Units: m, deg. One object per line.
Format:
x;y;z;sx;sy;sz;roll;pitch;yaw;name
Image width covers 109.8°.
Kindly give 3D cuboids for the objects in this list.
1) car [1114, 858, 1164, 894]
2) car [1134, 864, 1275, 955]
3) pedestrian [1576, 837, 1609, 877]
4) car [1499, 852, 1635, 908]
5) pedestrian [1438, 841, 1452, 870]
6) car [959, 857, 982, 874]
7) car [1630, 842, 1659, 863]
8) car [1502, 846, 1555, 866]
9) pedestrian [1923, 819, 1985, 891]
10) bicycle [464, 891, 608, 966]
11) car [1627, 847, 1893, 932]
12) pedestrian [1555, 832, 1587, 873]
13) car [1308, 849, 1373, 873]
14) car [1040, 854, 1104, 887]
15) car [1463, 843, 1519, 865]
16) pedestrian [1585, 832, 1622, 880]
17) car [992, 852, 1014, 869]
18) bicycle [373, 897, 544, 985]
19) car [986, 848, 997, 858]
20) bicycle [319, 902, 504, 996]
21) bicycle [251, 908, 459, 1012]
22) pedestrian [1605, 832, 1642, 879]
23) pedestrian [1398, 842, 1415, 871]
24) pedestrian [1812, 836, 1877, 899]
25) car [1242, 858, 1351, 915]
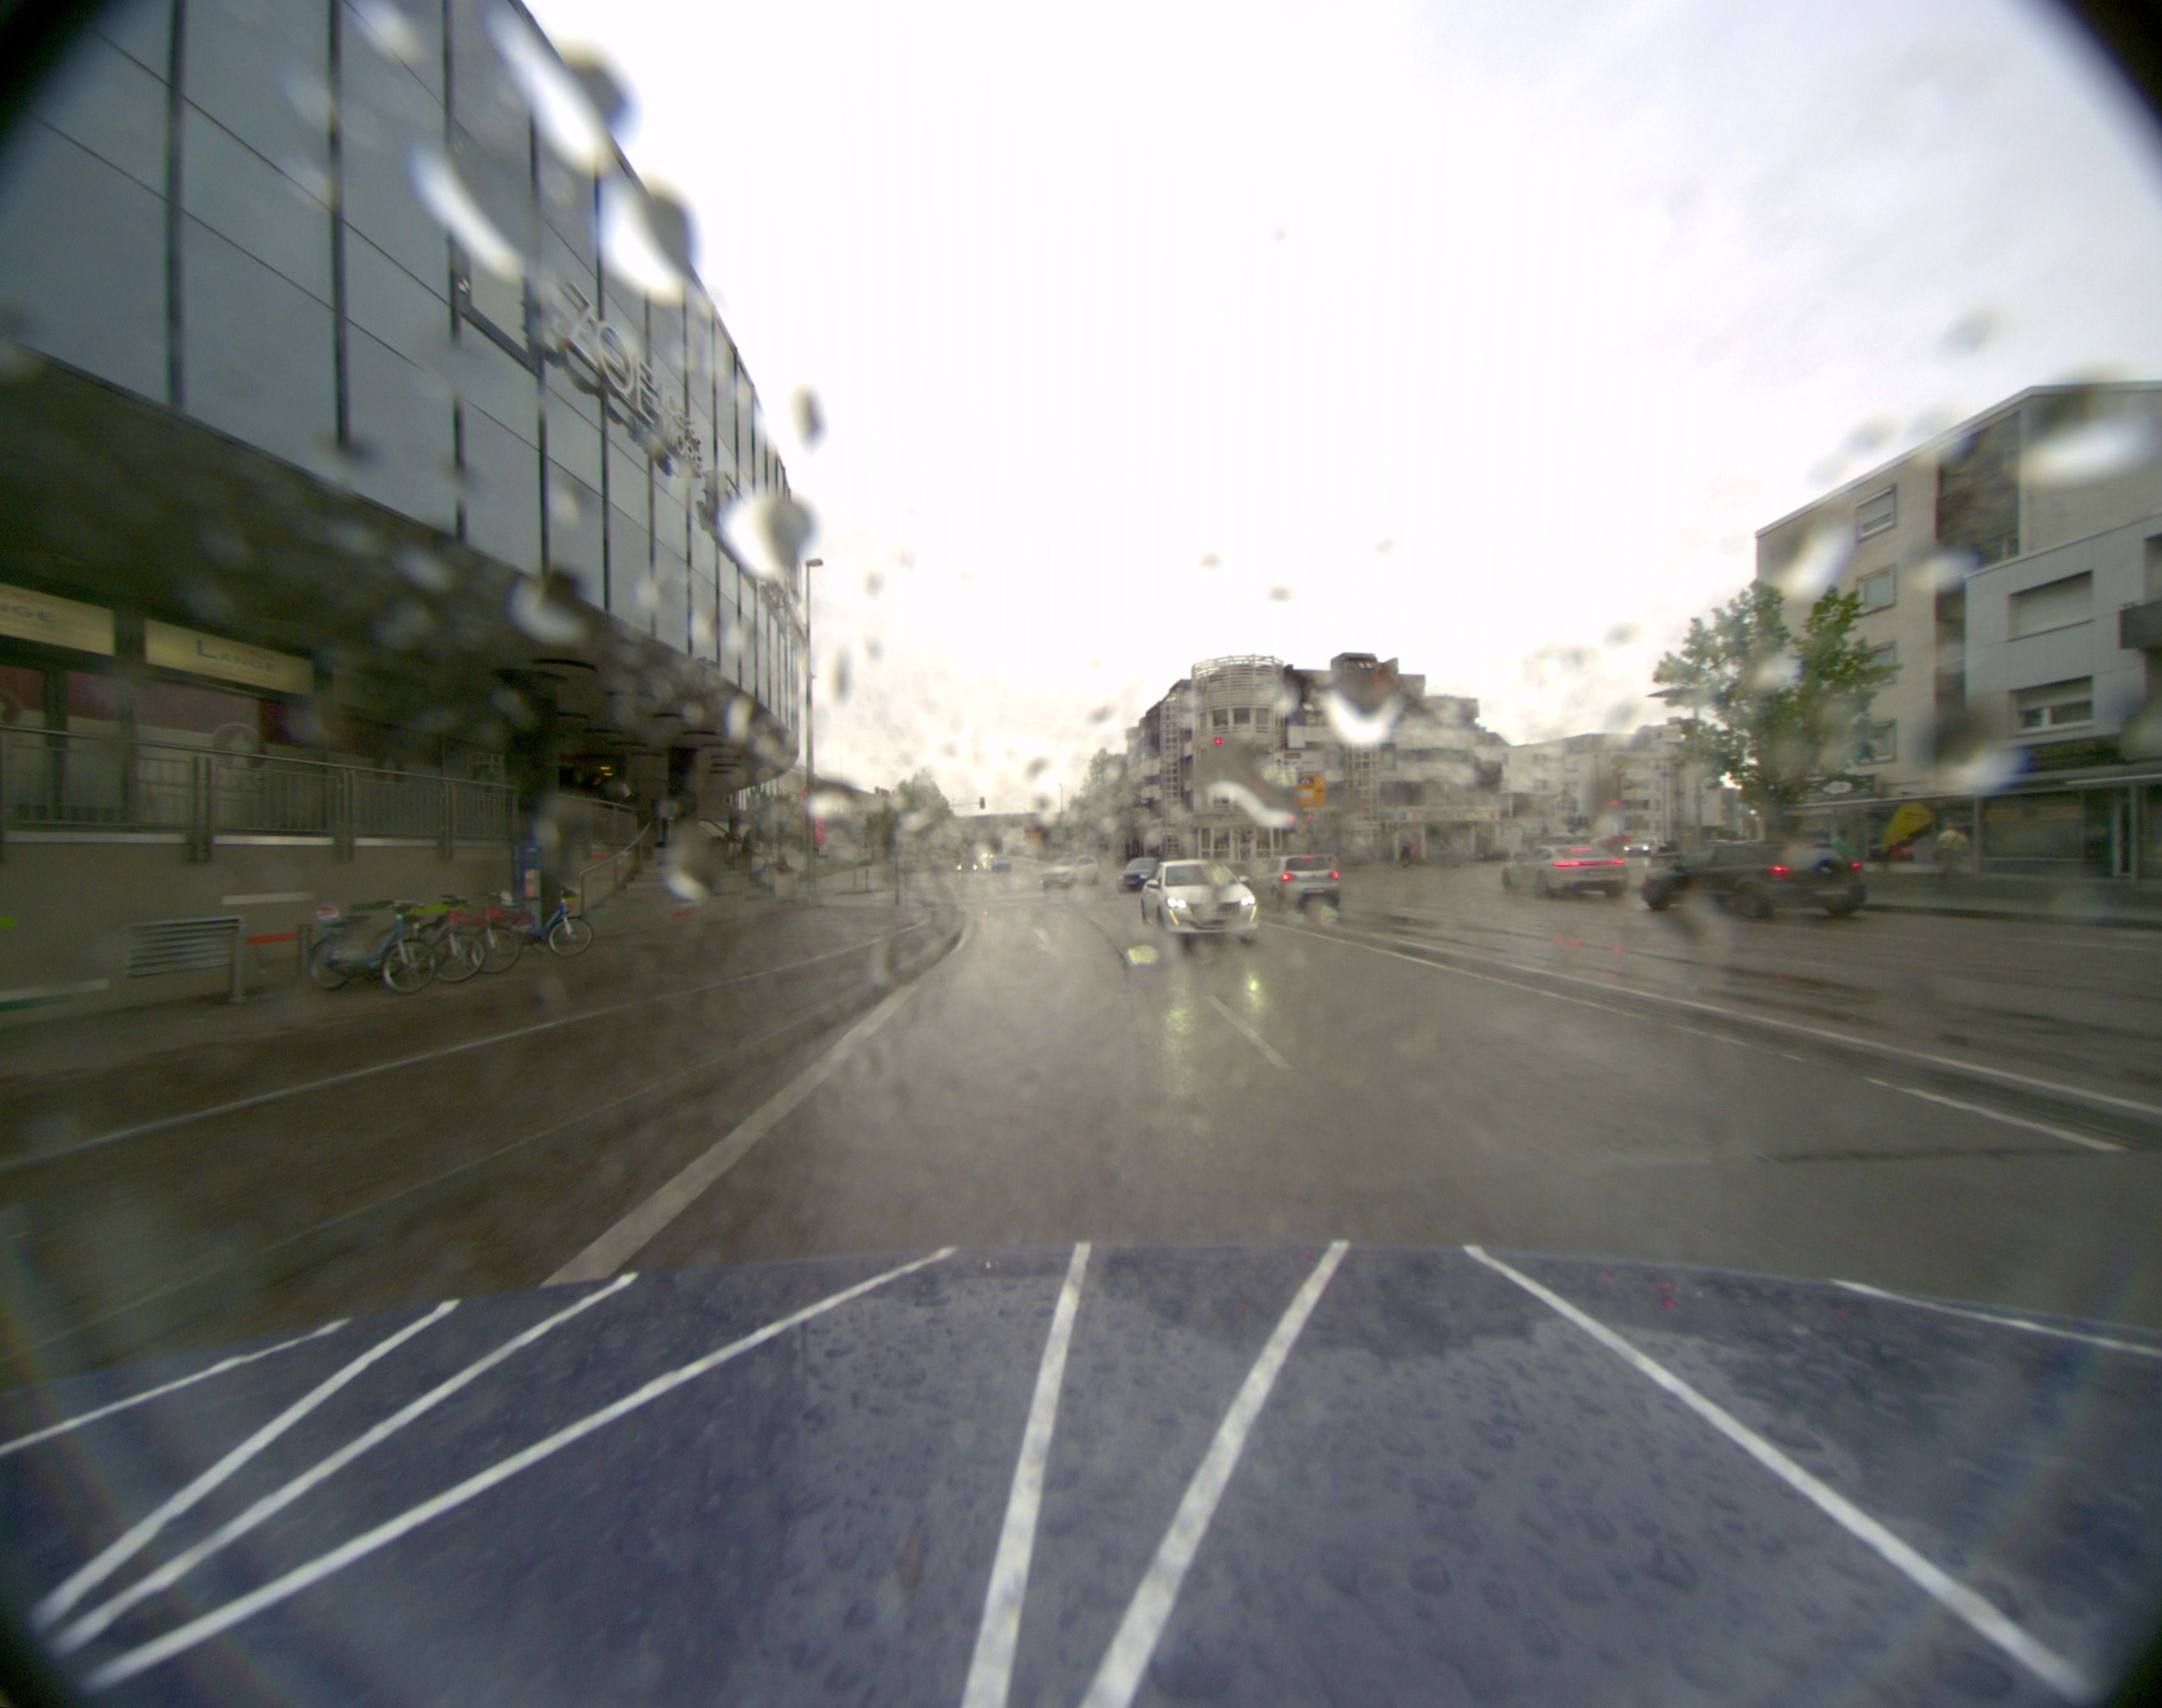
2.762;0.998;35.455;1.674;1.533;3.918;-1;-1;14;car
2.222;0.954;14.698;1.877;1.453;3.872;-2;0;-3;car
24.618;0.134;36.584;0.905;1.903;0.978;-1;0;4;pedestrian
13.862;0.671;22.045;1.760;1.418;4.892;-1;0;13;car
22.354;0.073;46.611;0.682;1.733;0.586;-2;1;30;pedestrian
-10.289;1.052;70.717;1.901;1.517;3.998;-1;0;-5;car
56.237;-0.145;75.800;1.994;2.002;4.607;-1;0;40;car
39.275;0.181;66.664;3.897;1.710;1.745;-1;0;-13;car
24.786;0.038;21.588;0.760;2.002;0.864;-1;0;3;pedestrian
-8.689;1.174;12.160;1.834;1.104;0.694;1;1;3;bicycle
13.071;0.642;15.032;1.761;1.418;4.001;-1;-1;2;car
23.645;-0.070;36.655;0.905;1.903;0.978;-1;0;4;pedestrian
17.190;0.475;50.330;3.842;1.481;1.631;-1;0;-18;car
-0.431;0.844;40.988;1.759;1.540;4.333;-2;1;24;car
34.019;0.011;63.081;3.897;1.710;1.745;-1;0;-13;car
22.687;0.089;33.014;0.905;2.002;0.978;-1;0;4;pedestrian
-7.194;0.613;70.007;1.901;1.517;3.998;-1;0;-5;car
-8.584;1.182;10.520;1.814;1.104;0.694;1;0;3;bicycle
-14.577;-0.098;124.060;1.584;1.630;3.639;-1;0;-5;car
-8.536;1.188;9.731;1.805;1.079;0.685;1;1;3;bicycle
-8.496;1.218;8.930;1.814;1.104;0.694;1;0;3;bicycle
23.714;0.052;33.231;0.905;2.002;0.978;-1;0;4;pedestrian
20.361;0.160;47.533;0.838;1.733;0.585;-2;1;10;pedestrian
20.727;0.362;20.641;1.009;1.636;0.727;-2;0;4;pedestrian
6.040;0.884;21.786;1.762;1.442;3.999;-1;-1;-3;car
